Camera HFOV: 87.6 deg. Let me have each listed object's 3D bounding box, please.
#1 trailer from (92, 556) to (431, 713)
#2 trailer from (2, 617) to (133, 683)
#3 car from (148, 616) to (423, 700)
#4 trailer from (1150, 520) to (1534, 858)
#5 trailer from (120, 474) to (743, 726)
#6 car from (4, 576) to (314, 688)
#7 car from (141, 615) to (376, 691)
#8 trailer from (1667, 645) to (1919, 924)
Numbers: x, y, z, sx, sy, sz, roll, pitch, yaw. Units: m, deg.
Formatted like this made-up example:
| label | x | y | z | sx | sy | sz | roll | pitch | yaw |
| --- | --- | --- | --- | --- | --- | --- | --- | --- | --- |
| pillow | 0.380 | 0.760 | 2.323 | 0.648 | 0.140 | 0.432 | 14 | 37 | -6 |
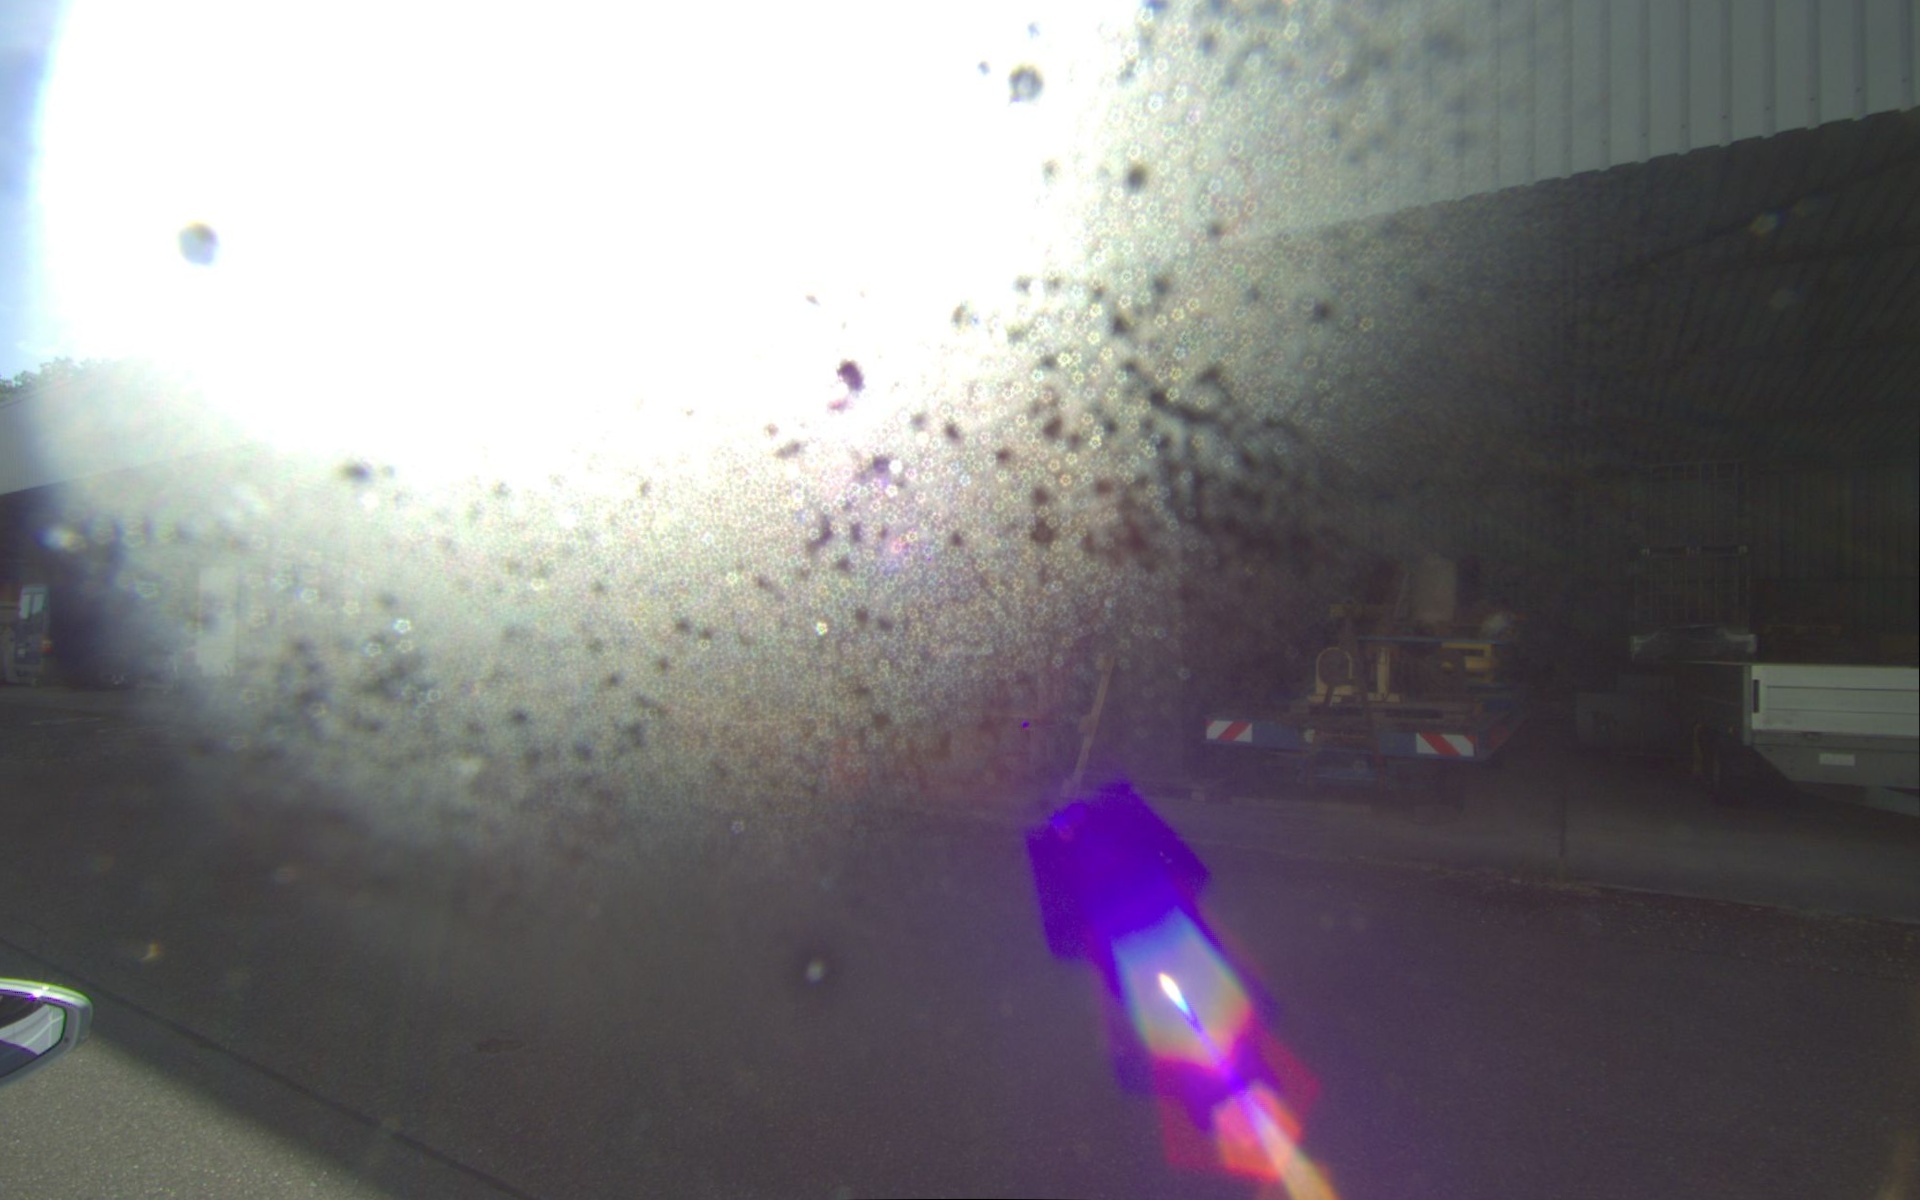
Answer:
| label | x | y | z | sx | sy | sz | roll | pitch | yaw |
| --- | --- | --- | --- | --- | --- | --- | --- | --- | --- |
| trailer | -12.080 | 0.577 | 17.643 | 2.018 | 2.372 | 4.507 | -1 | -1 | 33 |
| trailer | -21.369 | 1.163 | 24.002 | 1.715 | 1.485 | 2.032 | -1 | -1 | 36 |
| car | -13.444 | 1.109 | 20.238 | 1.841 | 1.490 | 4.246 | 0 | -2 | 29 |
| trailer | 3.455 | 0.587 | 8.422 | 2.133 | 2.016 | 4.413 | -1 | -1 | 33 |
| trailer | -8.652 | 0.095 | 18.525 | 2.761 | 3.386 | 10.250 | 0 | -1 | 32 |
| car | -18.600 | 0.765 | 23.592 | 2.121 | 2.310 | 5.326 | -1 | -2 | 31 |
| car | -15.616 | 1.152 | 22.511 | 1.812 | 1.533 | 3.962 | -1 | -2 | 29 |
| trailer | 6.452 | 0.988 | 7.017 | 1.945 | 1.200 | 5.721 | -1 | -1 | 30 |
